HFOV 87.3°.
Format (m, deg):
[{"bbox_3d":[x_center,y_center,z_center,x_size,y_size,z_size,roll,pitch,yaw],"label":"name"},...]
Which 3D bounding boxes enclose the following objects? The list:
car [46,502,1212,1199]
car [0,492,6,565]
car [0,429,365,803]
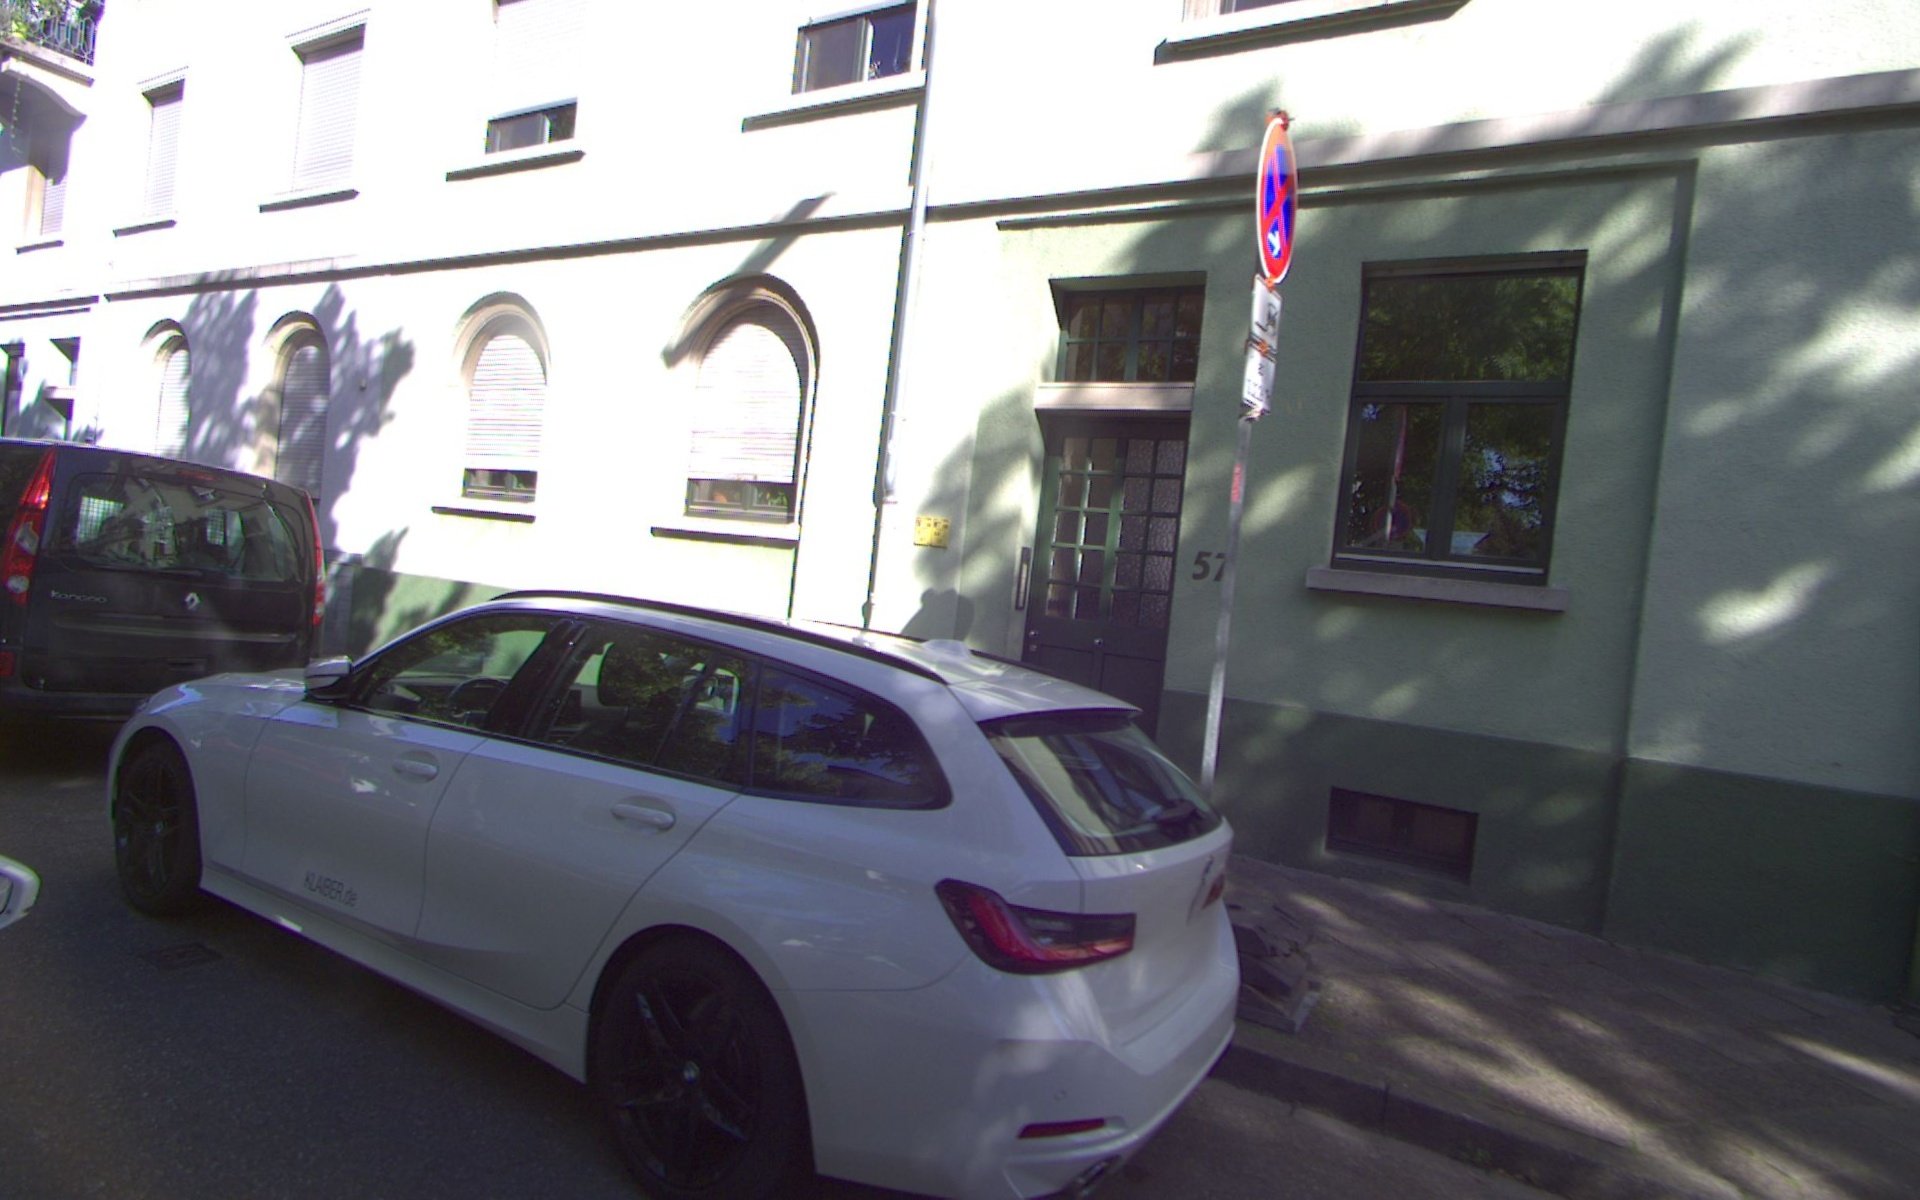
[{"bbox_3d":[-1.437,0.624,3.799,4.211,1.530,1.707,7,1,30],"label":"car"},{"bbox_3d":[-10.572,-0.475,8.994,4.490,1.438,1.609,7,1,29],"label":"car"},{"bbox_3d":[-5.968,-0.062,6.520,3.921,1.816,1.774,7,1,29],"label":"car"}]
